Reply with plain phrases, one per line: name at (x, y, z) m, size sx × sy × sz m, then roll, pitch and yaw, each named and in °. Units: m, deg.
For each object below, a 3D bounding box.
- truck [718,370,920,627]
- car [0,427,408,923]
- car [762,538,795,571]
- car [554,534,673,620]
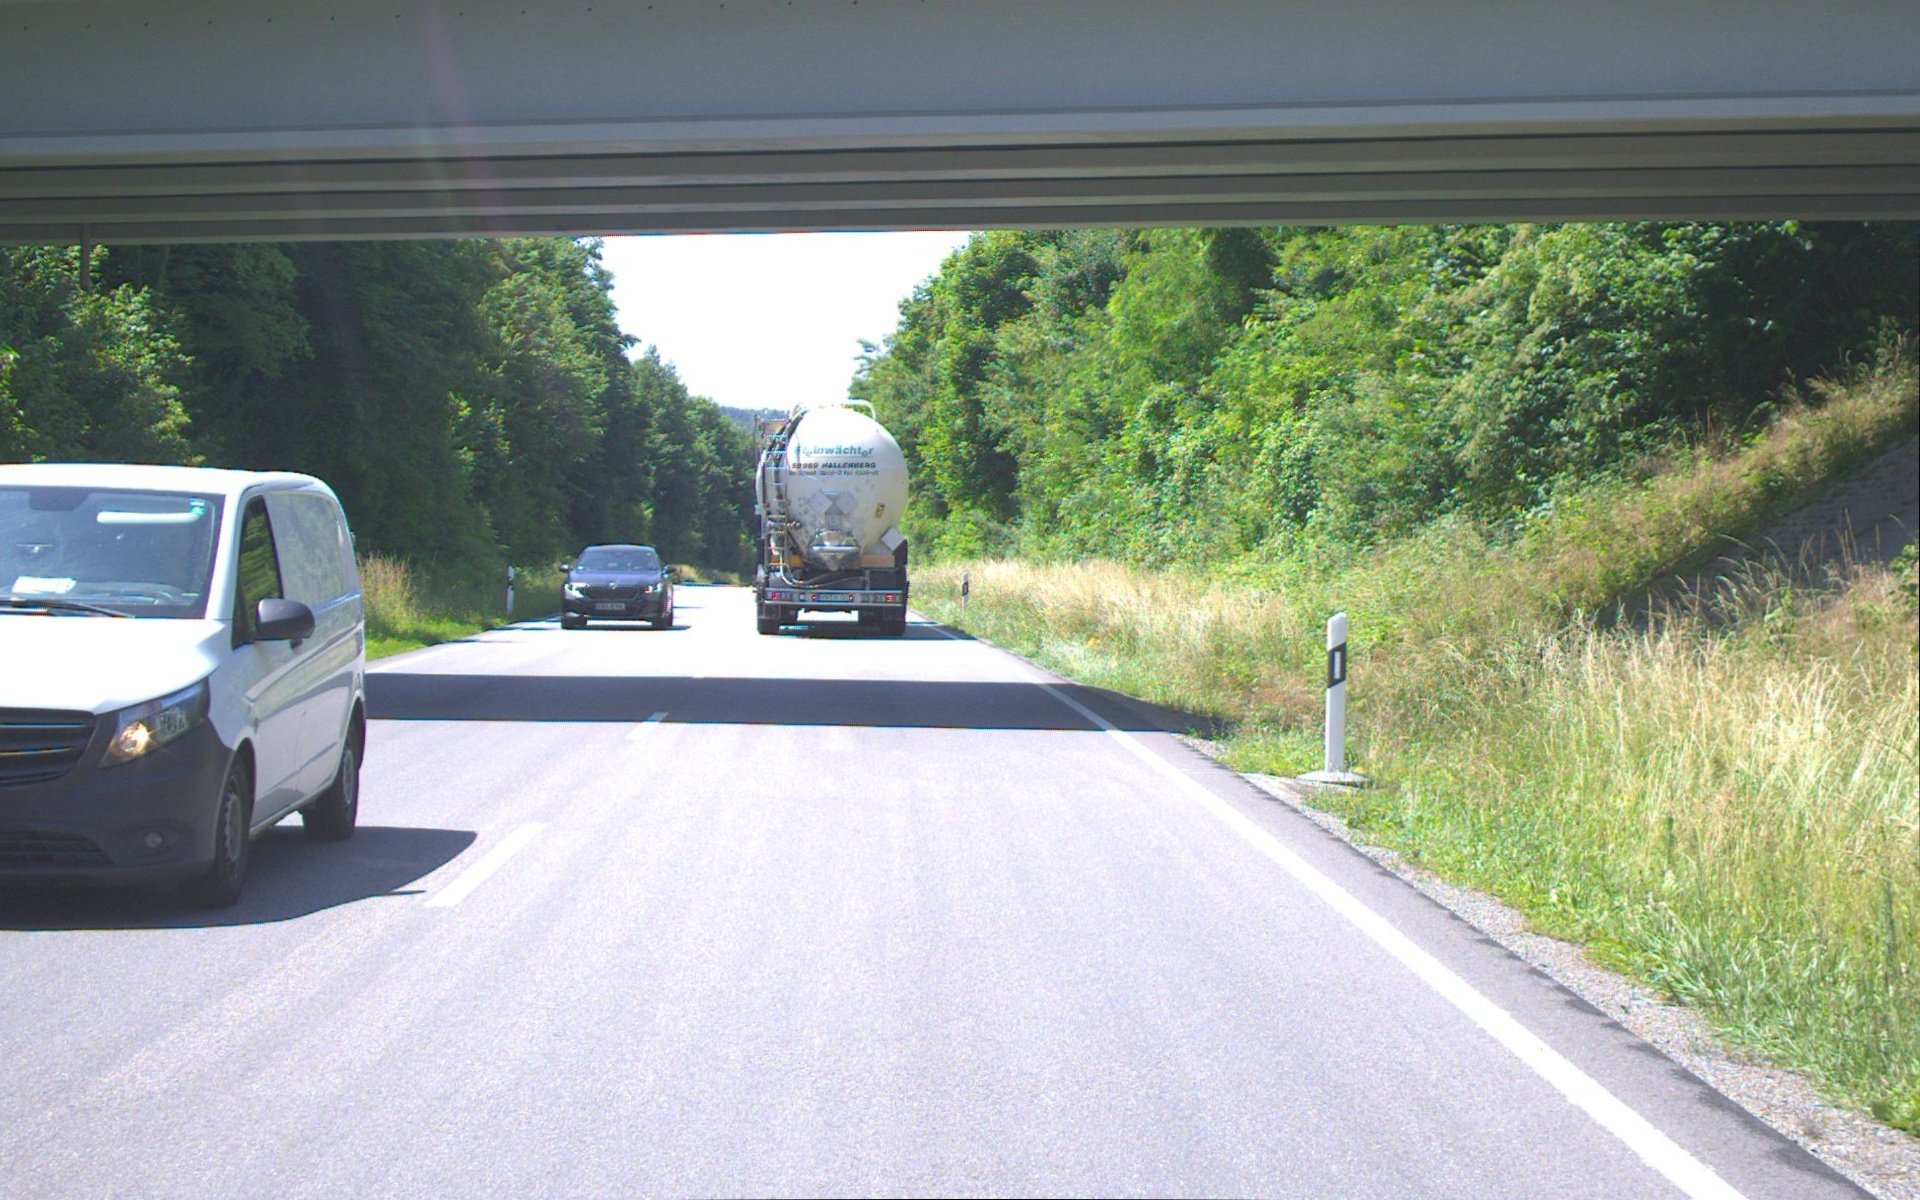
truck at (-2.611, -1.661, 63.363) m, size 3.049 × 3.984 × 15.638 m, roll 3°, pitch 0°, yaw -2°
car at (-3.908, 0.234, 15.849) m, size 1.931 × 1.899 × 5.327 m, roll 0°, pitch 1°, yaw -1°
car at (-11.178, -2.791, 211.573) m, size 1.993 × 2.007 × 4.001 m, roll 1°, pitch 1°, yaw -3°
car at (-6.317, -0.446, 63.005) m, size 1.859 × 1.500 × 4.587 m, roll 0°, pitch 1°, yaw -2°
